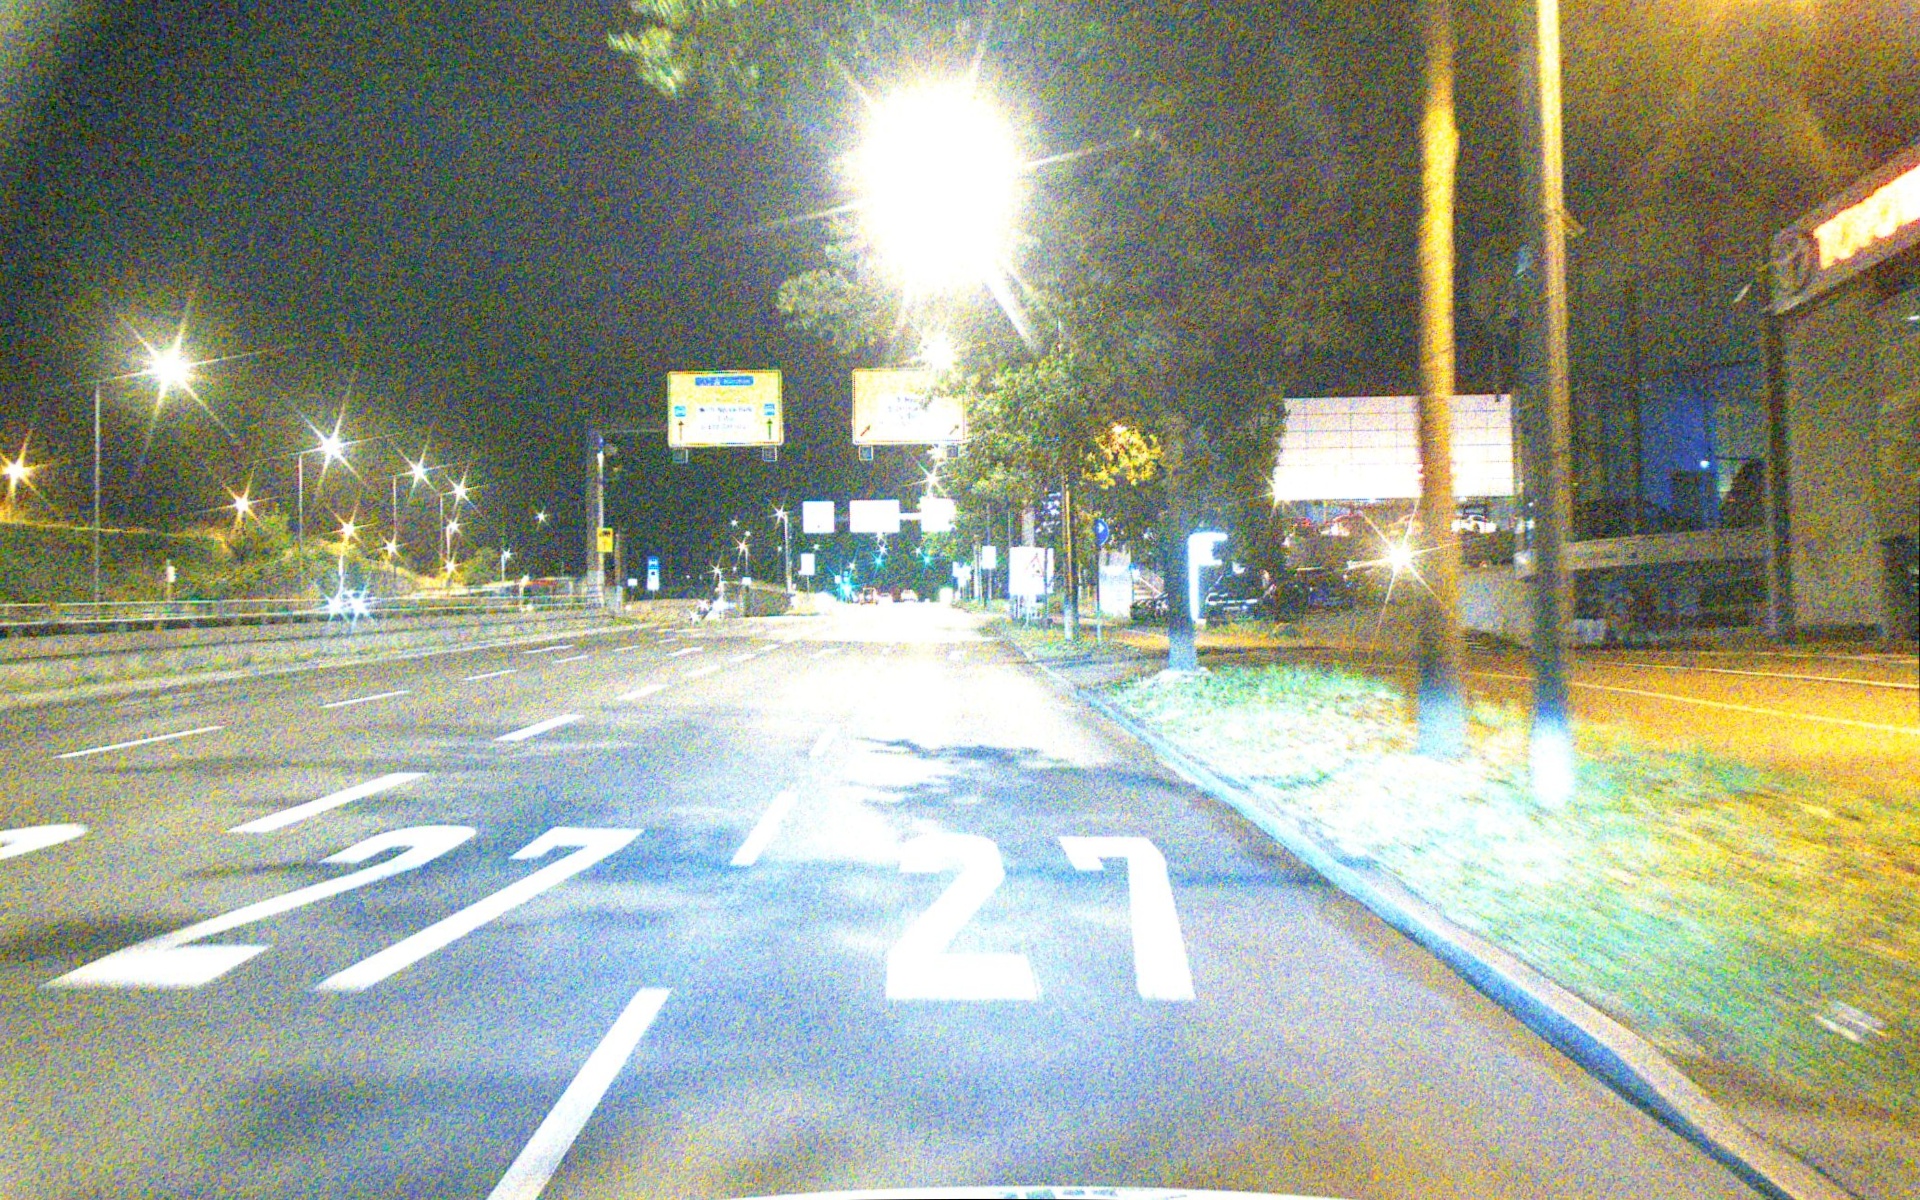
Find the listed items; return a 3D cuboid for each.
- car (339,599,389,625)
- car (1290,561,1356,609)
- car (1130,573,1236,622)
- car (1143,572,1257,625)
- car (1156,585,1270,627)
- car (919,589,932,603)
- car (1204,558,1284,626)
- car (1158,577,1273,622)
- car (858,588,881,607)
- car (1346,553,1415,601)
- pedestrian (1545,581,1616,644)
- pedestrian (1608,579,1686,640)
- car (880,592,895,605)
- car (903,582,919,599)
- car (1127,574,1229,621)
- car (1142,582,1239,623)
[{"bbox_3d":[-34.984,0.720,97.123,1.592,1.507,3.678,1,-1,0],"label":"car"},{"bbox_3d":[12.587,-0.485,57.481,1.852,1.538,3.638,1,-1,6],"label":"car"},{"bbox_3d":[8.906,-0.085,66.270,3.909,1.889,1.820,1,-1,-5],"label":"car"},{"bbox_3d":[8.900,-0.046,61.477,3.909,1.889,1.820,1,-1,-5],"label":"car"},{"bbox_3d":[8.988,0.222,58.933,3.748,1.435,1.709,1,-1,-4],"label":"car"},{"bbox_3d":[-5.137,-0.571,245.666,1.800,1.870,3.999,1,-1,-1],"label":"car"},{"bbox_3d":[8.731,-0.202,50.617,1.951,1.979,4.002,0,-1,16],"label":"car"},{"bbox_3d":[8.657,-0.003,56.170,3.553,1.477,1.706,1,-1,-5],"label":"car"},{"bbox_3d":[-8.889,-0.239,162.201,1.927,1.741,4.000,1,-1,1],"label":"car"},{"bbox_3d":[14.930,-0.794,58.851,1.852,1.538,3.638,1,-1,6],"label":"car"},{"bbox_3d":[10.666,0.215,28.424,0.897,1.056,0.767,-2,-1,43],"label":"pedestrian"},{"bbox_3d":[11.805,0.164,28.425,0.981,1.025,0.768,1,-1,-16],"label":"pedestrian"},{"bbox_3d":[-9.892,-0.232,226.518,1.953,1.624,3.999,-1,-1,-1],"label":"car"},{"bbox_3d":[-6.038,-1.181,204.703,1.953,2.049,3.999,1,-1,-1],"label":"car"},{"bbox_3d":[9.001,-0.087,68.495,3.909,1.889,1.820,1,-1,-5],"label":"car"},{"bbox_3d":[8.898,0.103,63.969,3.441,1.535,1.734,1,-1,-5],"label":"car"}]
